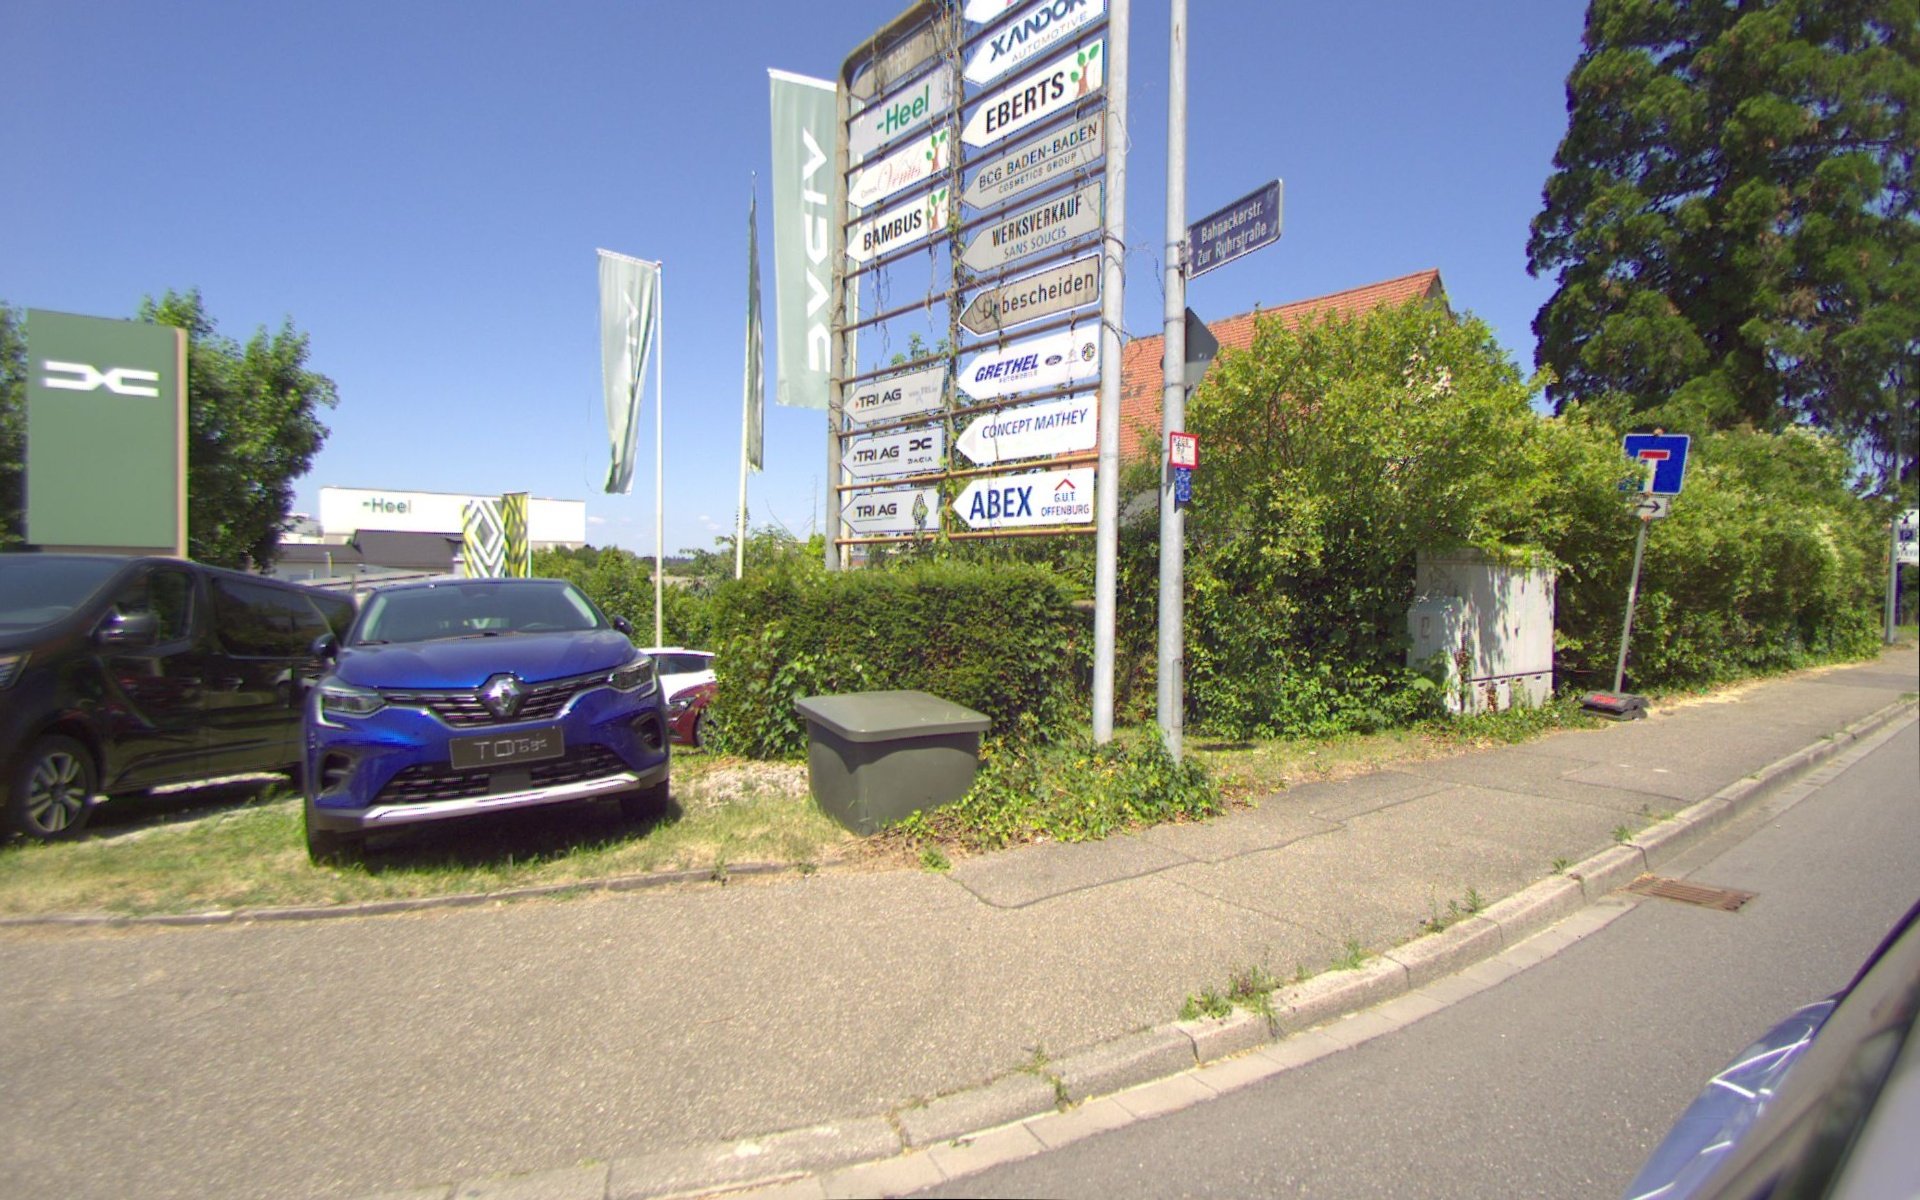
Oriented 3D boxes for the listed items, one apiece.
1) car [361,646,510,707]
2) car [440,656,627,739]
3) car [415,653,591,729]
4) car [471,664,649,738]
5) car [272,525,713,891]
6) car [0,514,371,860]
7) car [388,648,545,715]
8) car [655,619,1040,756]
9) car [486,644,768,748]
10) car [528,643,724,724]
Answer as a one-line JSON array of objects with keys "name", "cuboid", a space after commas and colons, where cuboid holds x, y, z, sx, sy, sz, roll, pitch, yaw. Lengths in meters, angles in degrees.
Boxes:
[{"name": "car", "cuboid": [-16.895, 2.416, 32.680, 3.929, 1.725, 1.872, 1, -1, -41]}, {"name": "car", "cuboid": [-10.612, 2.360, 25.303, 3.929, 1.725, 1.872, 1, -1, -41]}, {"name": "car", "cuboid": [-12.192, 2.362, 27.114, 3.929, 1.725, 1.872, 1, -1, -41]}, {"name": "car", "cuboid": [-9.026, 2.224, 22.958, 3.372, 1.462, 1.737, 2, -4, -41]}, {"name": "car", "cuboid": [-3.054, 0.596, 6.510, 1.819, 1.534, 4.083, -2, -4, -28]}, {"name": "car", "cuboid": [-6.664, 0.660, 7.709, 1.957, 1.925, 5.281, -1, -4, -9]}, {"name": "car", "cuboid": [-14.838, 2.387, 30.530, 3.929, 1.725, 1.872, 1, -1, -41]}, {"name": "car", "cuboid": [-1.315, 1.080, 12.621, 4.453, 1.381, 1.708, -3, -5, 1]}, {"name": "car", "cuboid": [-5.439, 1.563, 16.906, 1.823, 1.511, 4.076, -3, -6, 44]}, {"name": "car", "cuboid": [-6.837, 1.751, 20.874, 3.372, 1.529, 1.737, 6, -7, -41]}]
